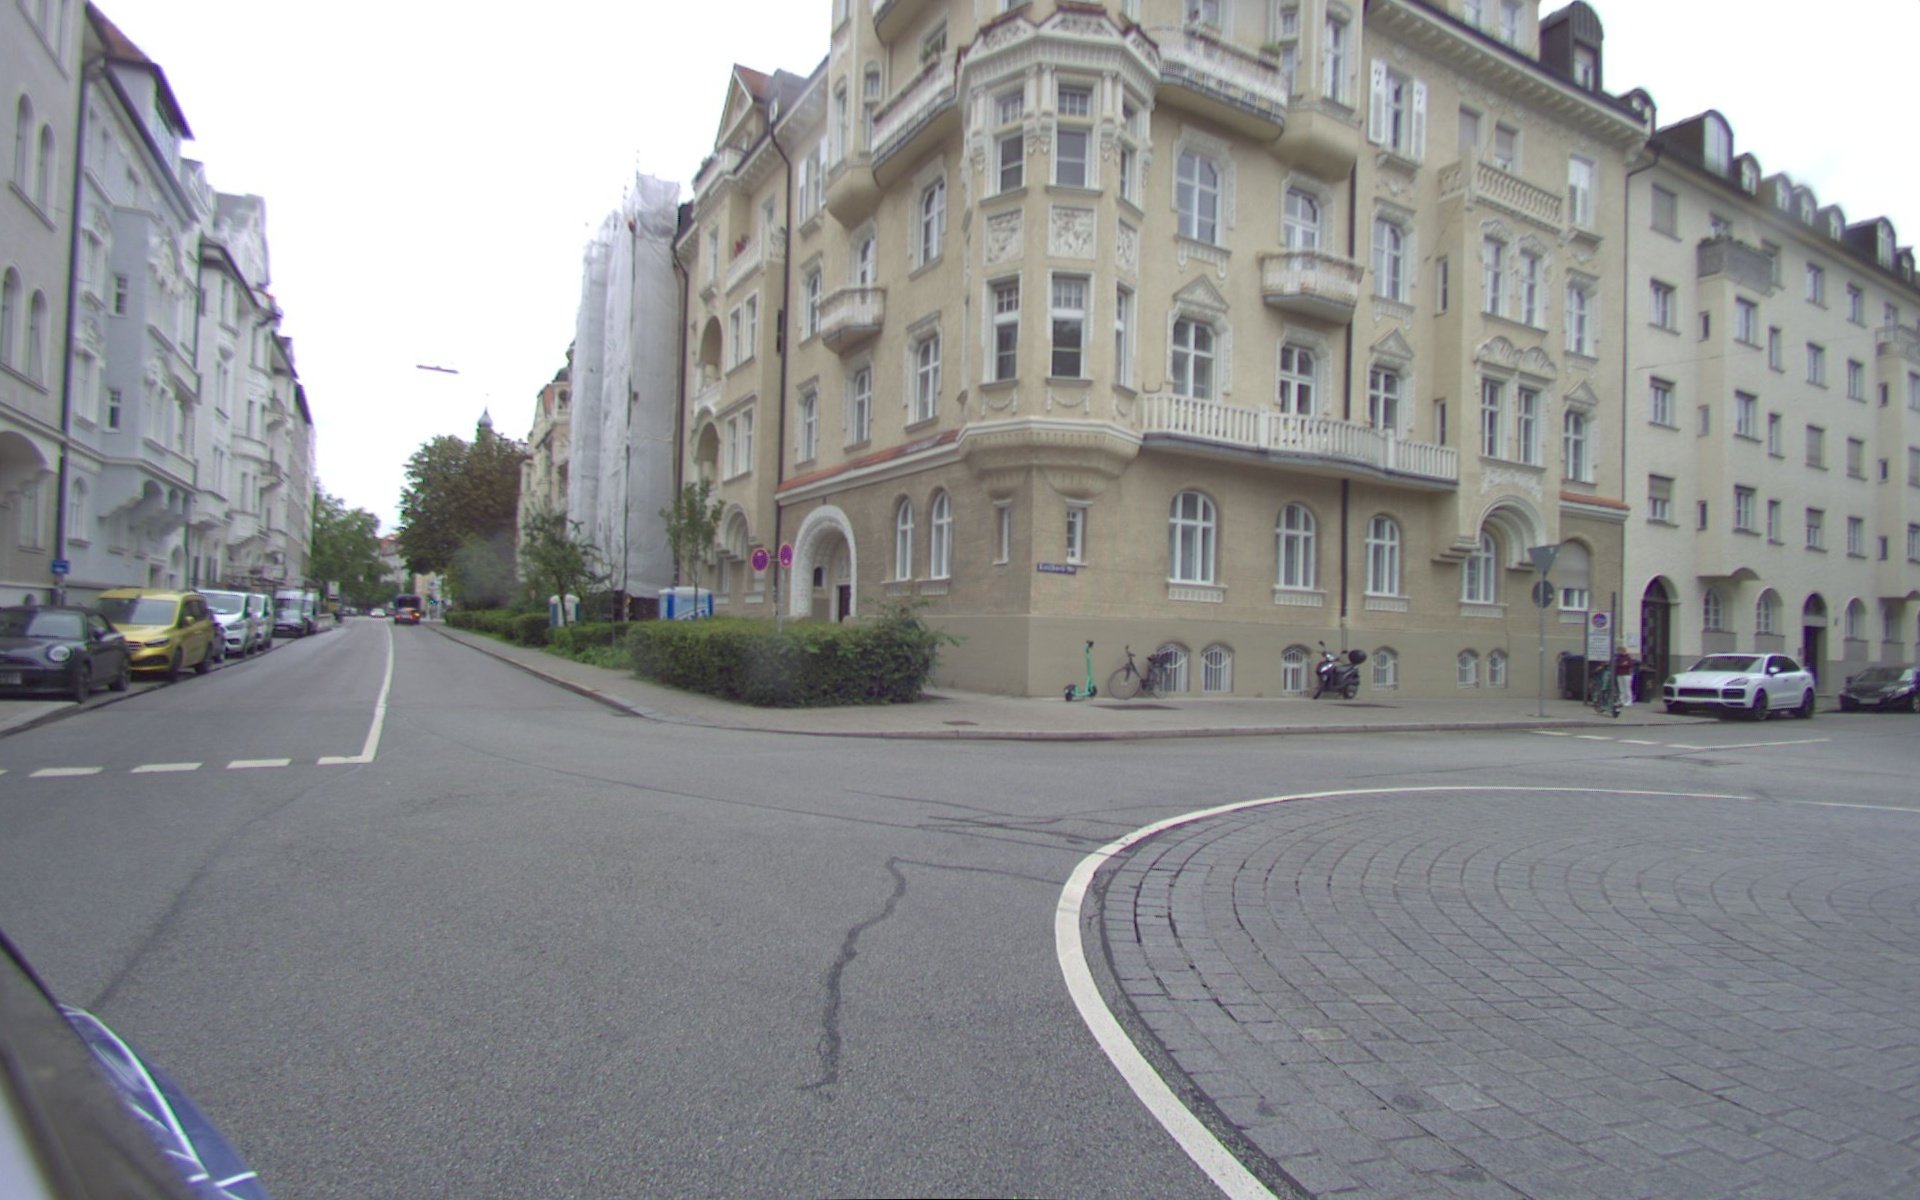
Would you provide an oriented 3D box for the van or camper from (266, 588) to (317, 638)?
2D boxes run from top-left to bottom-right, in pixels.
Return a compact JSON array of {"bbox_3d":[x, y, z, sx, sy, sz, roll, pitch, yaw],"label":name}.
[{"bbox_3d":[-37.931,0.727,57.501,1.926,2.657,5.475,3,-2,-29],"label":"van or camper"}]

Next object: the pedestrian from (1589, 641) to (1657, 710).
[{"bbox_3d":[18.369,2.084,28.043,1.250,1.818,1.136,3,-2,-30],"label":"pedestrian"}]

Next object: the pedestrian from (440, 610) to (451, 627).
[{"bbox_3d":[-55.231,2.003,108.584,0.895,1.758,0.849,3,-2,-30],"label":"pedestrian"}]

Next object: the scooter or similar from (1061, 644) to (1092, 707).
[{"bbox_3d":[2.319,1.474,20.032,0.523,1.175,1.352,1,-2,10],"label":"scooter or similar"}]

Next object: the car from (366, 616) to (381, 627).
[{"bbox_3d":[-95.127,3.470,164.183,1.895,1.630,4.012,2,-2,-29],"label":"car"}]

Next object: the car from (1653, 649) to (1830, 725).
[{"bbox_3d":[19.932,2.171,25.780,4.728,1.704,2.006,3,-2,-31],"label":"car"}]

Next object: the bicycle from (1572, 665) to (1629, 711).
[{"bbox_3d":[16.779,2.297,26.493,1.814,1.158,0.552,3,-2,-32],"label":"bicycle"}]

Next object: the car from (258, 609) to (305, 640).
[{"bbox_3d":[-34.991,1.248,52.286,1.729,1.445,4.099,3,-2,-31],"label":"car"}]

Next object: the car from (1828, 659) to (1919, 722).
[{"bbox_3d":[28.786,2.750,31.129,4.140,1.704,2.006,3,-2,-31],"label":"car"}]

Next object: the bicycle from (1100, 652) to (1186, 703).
[{"bbox_3d":[3.902,1.644,21.518,1.850,1.030,0.562,3,-2,-30],"label":"bicycle"}]

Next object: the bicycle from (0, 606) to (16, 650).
[{"bbox_3d":[-24.501,0.698,25.348,0.684,1.102,2.043,5,-3,-28],"label":"bicycle"}]

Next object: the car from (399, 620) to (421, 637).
[{"bbox_3d":[-56.314,2.886,103.572,1.743,1.657,4.286,3,-2,-30],"label":"car"}]

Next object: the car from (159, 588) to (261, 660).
[{"bbox_3d":[-22.484,0.705,30.523,1.932,1.952,5.008,3,-2,-31],"label":"car"}]

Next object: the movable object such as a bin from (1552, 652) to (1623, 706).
[{"bbox_3d":[18.102,2.255,29.204,1.143,1.468,1.349,3,-2,-30],"label":"movable object such as a bin"}]

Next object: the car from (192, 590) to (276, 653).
[{"bbox_3d":[-25.733,0.749,36.035,1.932,2.029,5.008,3,-2,-31],"label":"car"}]

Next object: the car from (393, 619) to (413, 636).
[{"bbox_3d":[-53.890,2.646,97.831,1.562,1.490,3.794,3,-2,-30],"label":"car"}]

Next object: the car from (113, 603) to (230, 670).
[{"bbox_3d":[-19.582,0.886,25.285,1.609,1.495,3.795,3,-2,-28],"label":"car"}]

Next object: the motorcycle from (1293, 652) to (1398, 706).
[{"bbox_3d":[9.284,1.897,24.342,2.519,1.189,1.010,3,-2,-31],"label":"motorcycle"}]

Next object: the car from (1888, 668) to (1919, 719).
[{"bbox_3d":[32.936,3.122,33.628,4.140,1.608,2.006,3,-2,-31],"label":"car"}]

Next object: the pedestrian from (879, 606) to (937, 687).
[{"bbox_3d":[-1.205,1.072,23.401,0.875,1.824,1.059,3,-3,-32],"label":"pedestrian"}]

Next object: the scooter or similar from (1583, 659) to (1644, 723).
[{"bbox_3d":[15.317,2.108,23.745,0.701,1.405,1.352,1,-2,10],"label":"scooter or similar"}]

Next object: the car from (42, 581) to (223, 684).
[{"bbox_3d":[-16.994,0.658,21.068,1.824,1.867,4.836,3,-2,-27],"label":"car"}]

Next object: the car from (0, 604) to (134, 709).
[{"bbox_3d":[-14.491,0.810,15.852,1.640,1.468,3.908,3,-2,-28],"label":"car"}]

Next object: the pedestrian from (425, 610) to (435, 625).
[{"bbox_3d":[-74.719,2.450,142.623,0.937,2.029,1.401,2,-2,-20],"label":"pedestrian"}]

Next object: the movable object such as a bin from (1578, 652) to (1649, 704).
[{"bbox_3d":[19.326,2.297,29.943,1.274,1.468,1.349,3,-2,-30],"label":"movable object such as a bin"}]

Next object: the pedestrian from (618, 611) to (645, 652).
[{"bbox_3d":[-14.692,1.407,45.260,0.901,1.765,0.951,3,-2,-30],"label":"pedestrian"}]

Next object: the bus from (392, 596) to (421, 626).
[{"bbox_3d":[-61.812,1.291,112.934,2.543,3.124,8.950,3,-2,-29],"label":"bus"}]
